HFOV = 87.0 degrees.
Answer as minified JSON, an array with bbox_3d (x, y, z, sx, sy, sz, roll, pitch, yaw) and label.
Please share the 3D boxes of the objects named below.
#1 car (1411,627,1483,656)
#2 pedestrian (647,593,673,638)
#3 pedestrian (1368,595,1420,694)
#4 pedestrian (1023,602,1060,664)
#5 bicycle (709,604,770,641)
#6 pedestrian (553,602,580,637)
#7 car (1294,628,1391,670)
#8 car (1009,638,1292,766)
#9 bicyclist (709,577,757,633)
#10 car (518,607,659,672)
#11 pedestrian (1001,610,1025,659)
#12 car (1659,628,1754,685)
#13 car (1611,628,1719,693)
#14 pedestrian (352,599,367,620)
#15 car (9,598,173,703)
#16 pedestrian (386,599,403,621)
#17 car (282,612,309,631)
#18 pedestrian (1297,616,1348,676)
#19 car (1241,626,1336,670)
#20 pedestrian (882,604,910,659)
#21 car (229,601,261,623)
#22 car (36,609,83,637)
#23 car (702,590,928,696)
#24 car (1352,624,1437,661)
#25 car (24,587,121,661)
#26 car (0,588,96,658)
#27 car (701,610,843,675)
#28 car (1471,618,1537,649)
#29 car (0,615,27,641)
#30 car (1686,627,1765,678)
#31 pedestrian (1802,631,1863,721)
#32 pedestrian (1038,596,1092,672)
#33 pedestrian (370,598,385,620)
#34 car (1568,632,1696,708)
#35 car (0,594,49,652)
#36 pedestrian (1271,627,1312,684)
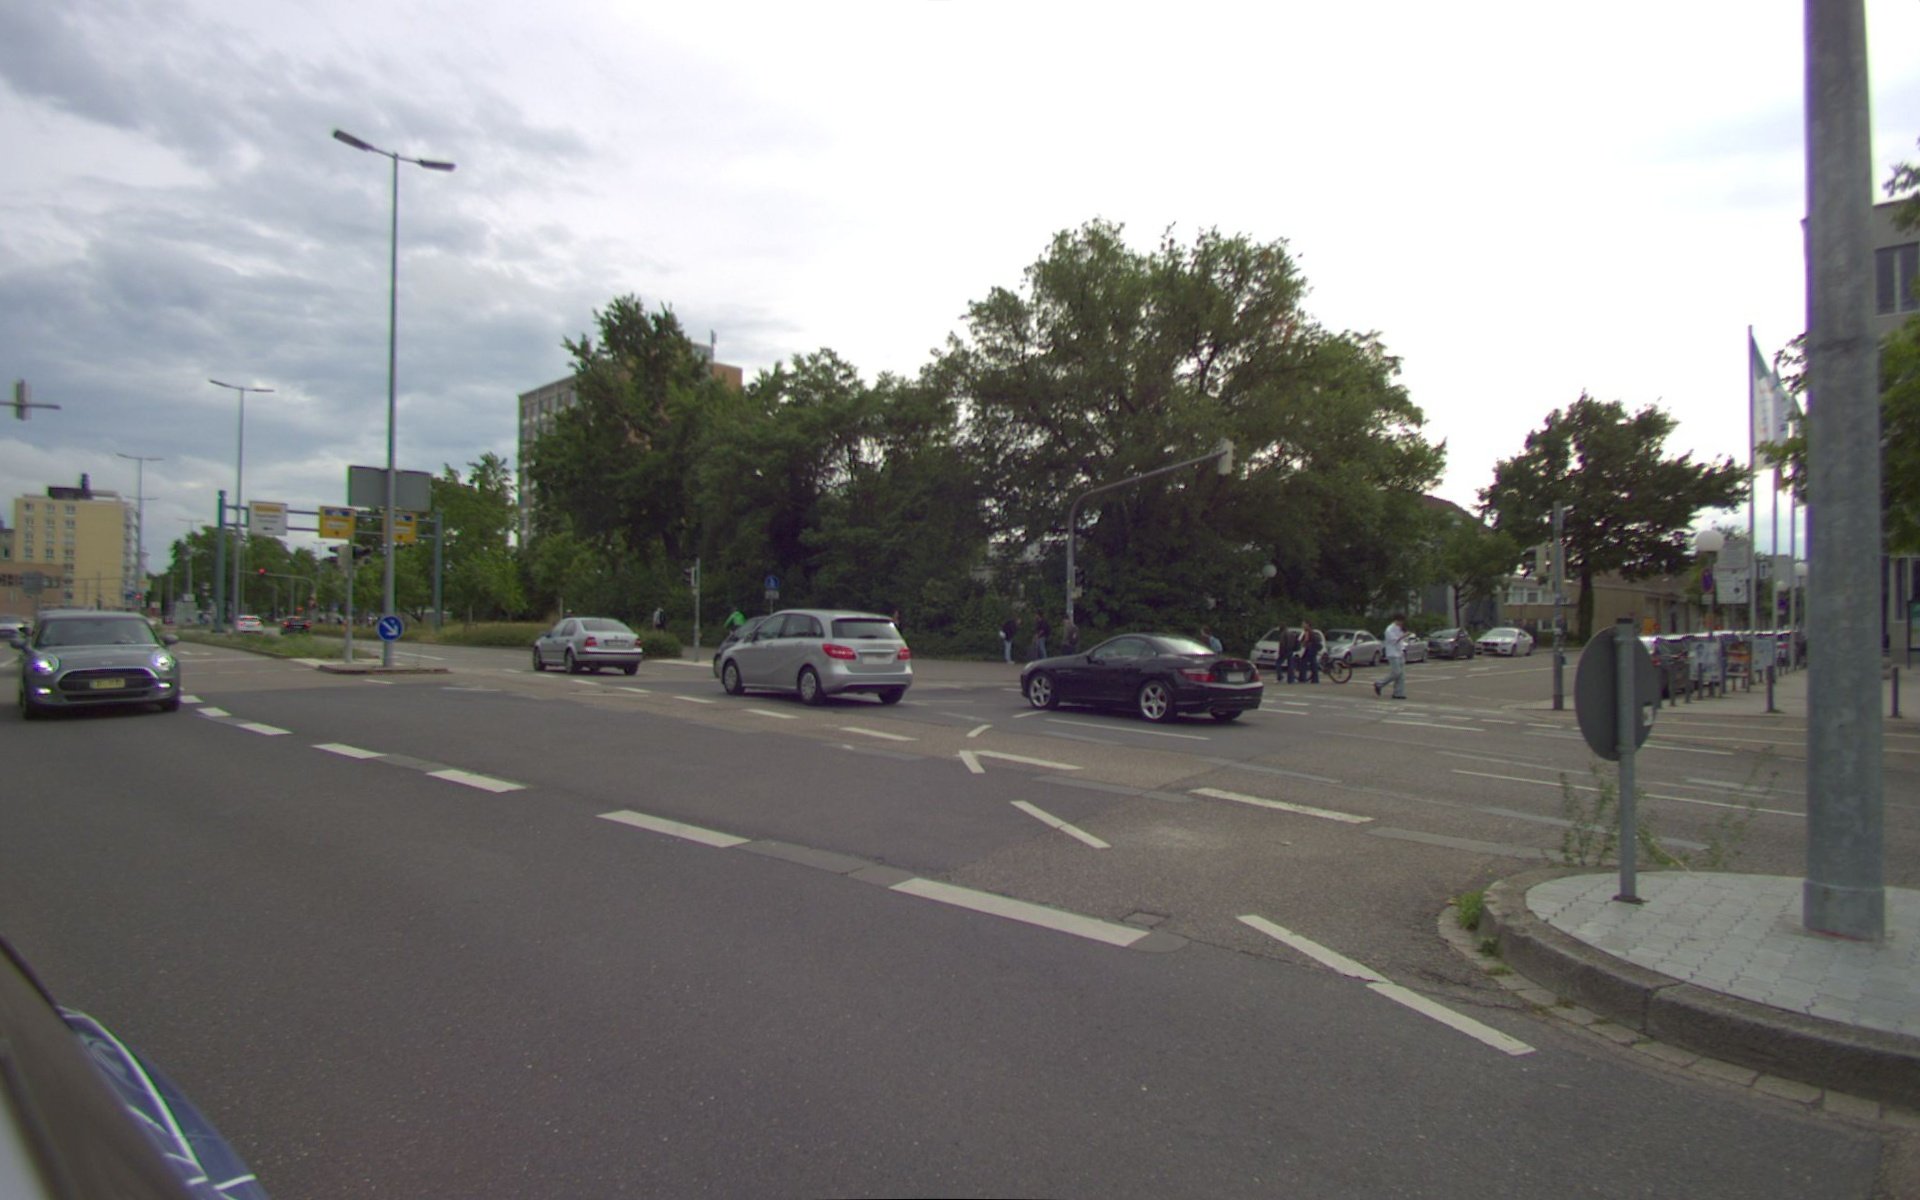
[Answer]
[{"bbox_3d":[23.214,1.971,48.213,2.000,1.296,3.943,0,-2,43],"label":"car"},{"bbox_3d":[-14.082,0.726,47.490,0.895,2.028,0.824,-2,3,-37],"label":"pedestrian"},{"bbox_3d":[9.380,0.969,21.884,0.852,2.074,0.660,-3,-5,38],"label":"pedestrian"},{"bbox_3d":[2.732,1.103,33.850,1.090,2.029,1.037,-1,0,14],"label":"pedestrian"},{"bbox_3d":[-8.161,0.839,37.423,2.299,1.343,0.602,-1,0,26],"label":"bicycle"},{"bbox_3d":[-18.844,0.933,48.455,0.976,1.637,0.814,-1,0,-44],"label":"pedestrian"},{"bbox_3d":[14.764,1.846,38.970,3.941,1.401,2.001,-1,0,-44],"label":"car"},{"bbox_3d":[2.831,1.441,15.714,1.968,1.632,4.008,2,-2,-38],"label":"car"},{"bbox_3d":[-8.368,0.194,37.304,1.274,2.029,1.174,-1,0,26],"label":"bicyclist"},{"bbox_3d":[-9.648,0.977,26.121,1.969,1.541,4.279,2,-2,-42],"label":"car"},{"bbox_3d":[1.791,1.146,34.085,0.601,1.618,0.497,0,-2,35],"label":"pedestrian"},{"bbox_3d":[24.039,1.756,32.536,2.000,1.591,3.943,-1,0,44],"label":"car"},{"bbox_3d":[19.224,1.576,27.537,1.999,1.483,3.945,-1,0,41],"label":"car"},{"bbox_3d":[-56.416,0.891,95.121,1.221,2.029,0.870,-1,0,41],"label":"pedestrian"},{"bbox_3d":[-12.625,0.678,14.730,1.601,1.328,3.710,2,-2,-41],"label":"car"},{"bbox_3d":[-50.793,0.905,90.898,1.120,1.933,1.164,-1,0,-38],"label":"pedestrian"},{"bbox_3d":[-56.652,1.836,86.235,1.825,1.564,4.010,1,-1,-35],"label":"car"},{"bbox_3d":[9.526,1.190,26.587,0.812,1.525,0.977,2,-2,-38],"label":"pedestrian"},{"bbox_3d":[11.859,1.687,36.435,1.864,1.461,3.544,-1,-1,44],"label":"car"},{"bbox_3d":[-2.014,0.970,31.882,0.582,1.708,0.653,0,0,-42],"label":"pedestrian"},{"bbox_3d":[-59.790,1.019,84.628,1.865,1.786,4.006,-1,0,-40],"label":"car"},{"bbox_3d":[-53.084,1.340,59.638,1.969,1.557,4.004,2,-2,-43],"label":"car"},{"bbox_3d":[-2.624,0.733,17.546,1.932,1.596,4.263,3,-3,-40],"label":"car"},{"bbox_3d":[18.730,1.798,43.575,3.941,1.401,2.001,-1,0,-44],"label":"car"},{"bbox_3d":[-26.101,0.694,29.817,1.969,2.029,4.006,2,-2,-41],"label":"car"},{"bbox_3d":[-21.092,0.524,23.342,1.706,1.470,4.006,2,-2,-41],"label":"car"},{"bbox_3d":[-4.720,1.012,25.111,1.829,1.475,3.703,2,-2,-41],"label":"car"},{"bbox_3d":[28.839,1.765,53.600,3.940,1.552,2.002,2,-2,-44],"label":"car"},{"bbox_3d":[-52.481,1.522,55.716,1.582,1.378,3.583,3,-3,-43],"label":"car"},{"bbox_3d":[27.511,1.854,36.327,1.854,1.696,3.943,-1,-2,43],"label":"car"},{"bbox_3d":[20.450,1.746,23.713,1.017,2.029,0.991,-1,-2,45],"label":"pedestrian"},{"bbox_3d":[2.893,0.903,27.801,1.136,2.029,1.174,-1,0,26],"label":"pedestrian"},{"bbox_3d":[-54.605,0.879,94.806,1.221,2.029,0.870,-1,0,41],"label":"pedestrian"},{"bbox_3d":[16.013,1.579,24.031,1.999,1.483,4.098,-1,0,41],"label":"car"},{"bbox_3d":[-34.331,0.815,36.577,1.969,2.029,4.006,2,-2,-41],"label":"car"},{"bbox_3d":[8.567,1.423,26.192,0.992,1.439,0.696,-1,0,17],"label":"pedestrian"}]
